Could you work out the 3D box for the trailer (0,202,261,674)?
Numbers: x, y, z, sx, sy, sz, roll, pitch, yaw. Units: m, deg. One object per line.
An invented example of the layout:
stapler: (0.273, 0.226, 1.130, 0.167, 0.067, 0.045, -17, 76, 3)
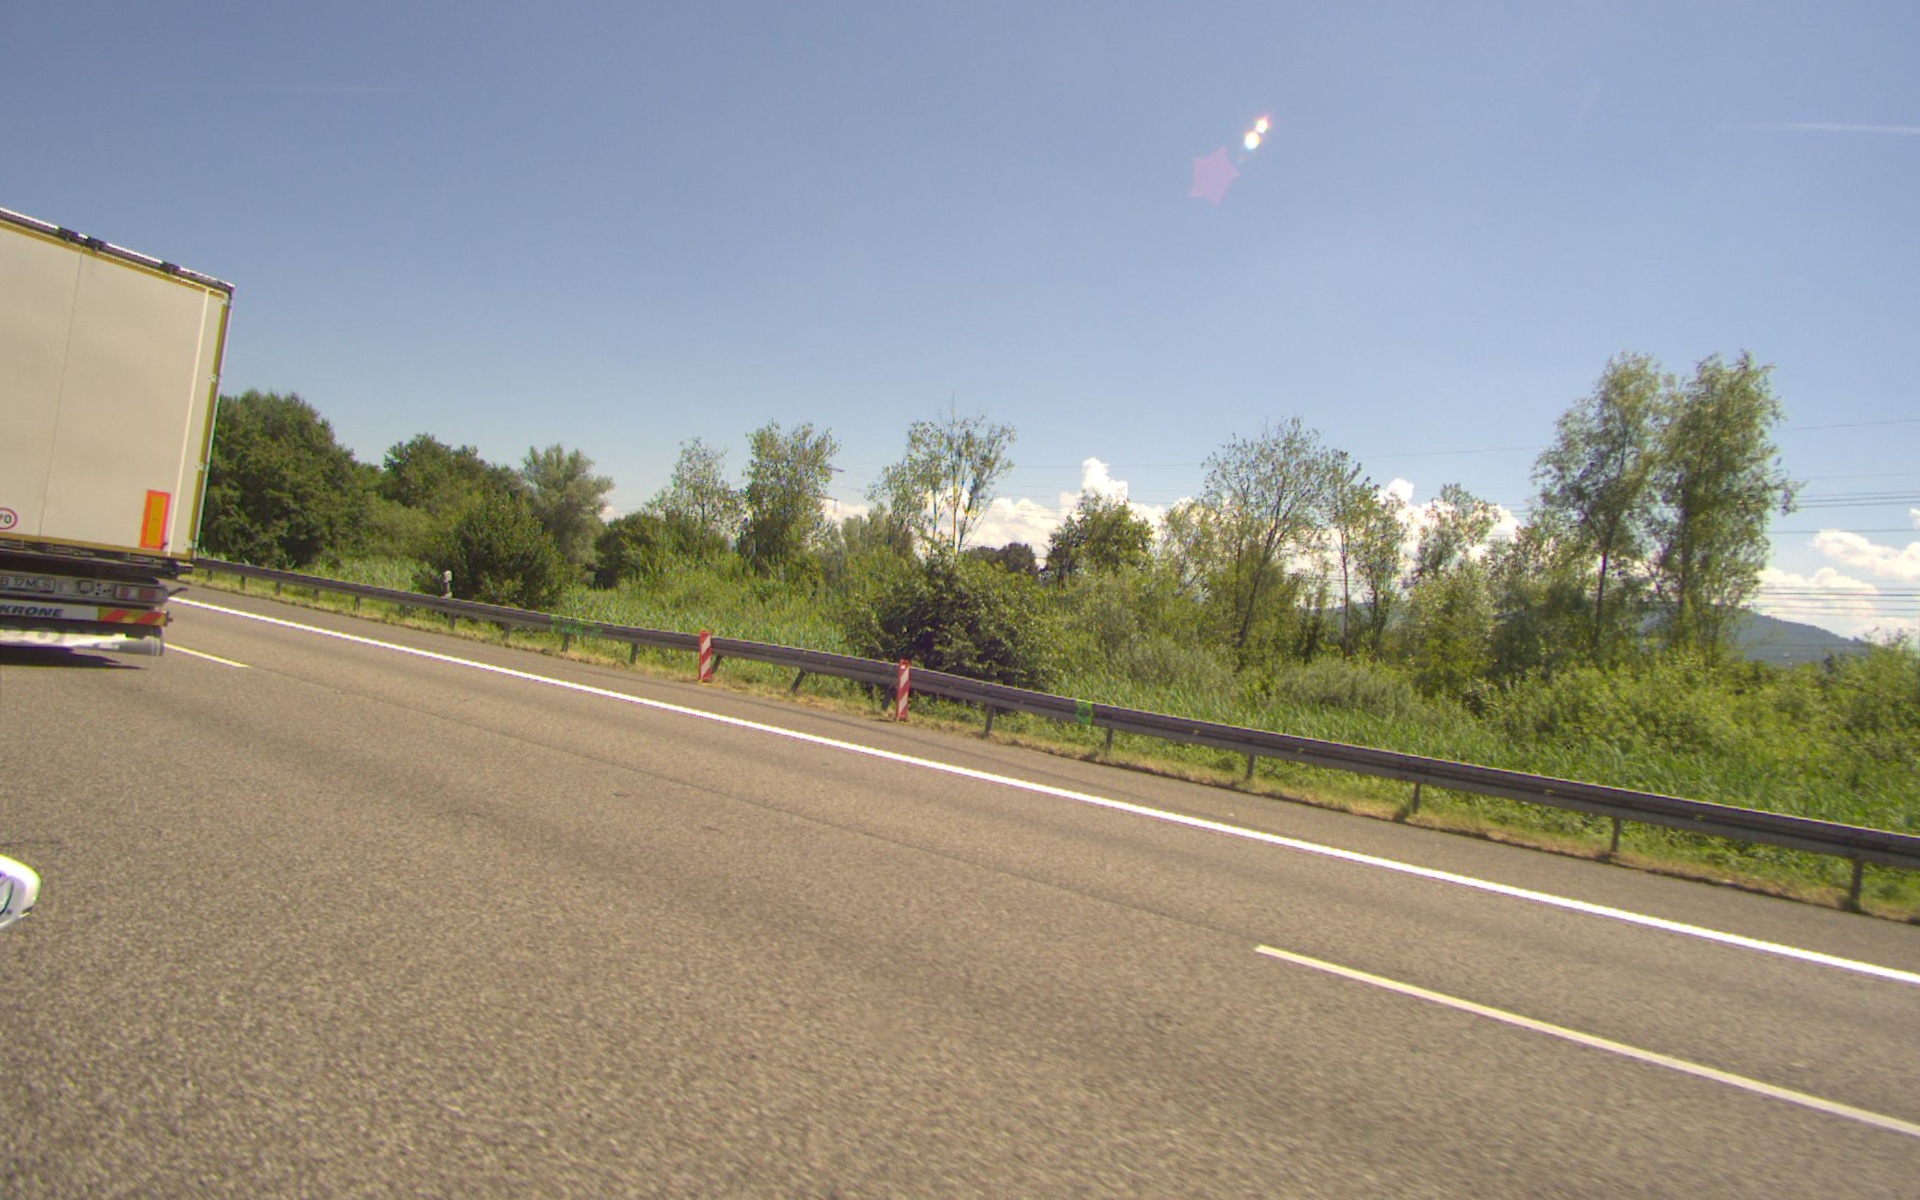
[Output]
trailer: (-13.525, -1.972, 12.574, 12.358, 4.083, 2.800, 6, -1, 31)
